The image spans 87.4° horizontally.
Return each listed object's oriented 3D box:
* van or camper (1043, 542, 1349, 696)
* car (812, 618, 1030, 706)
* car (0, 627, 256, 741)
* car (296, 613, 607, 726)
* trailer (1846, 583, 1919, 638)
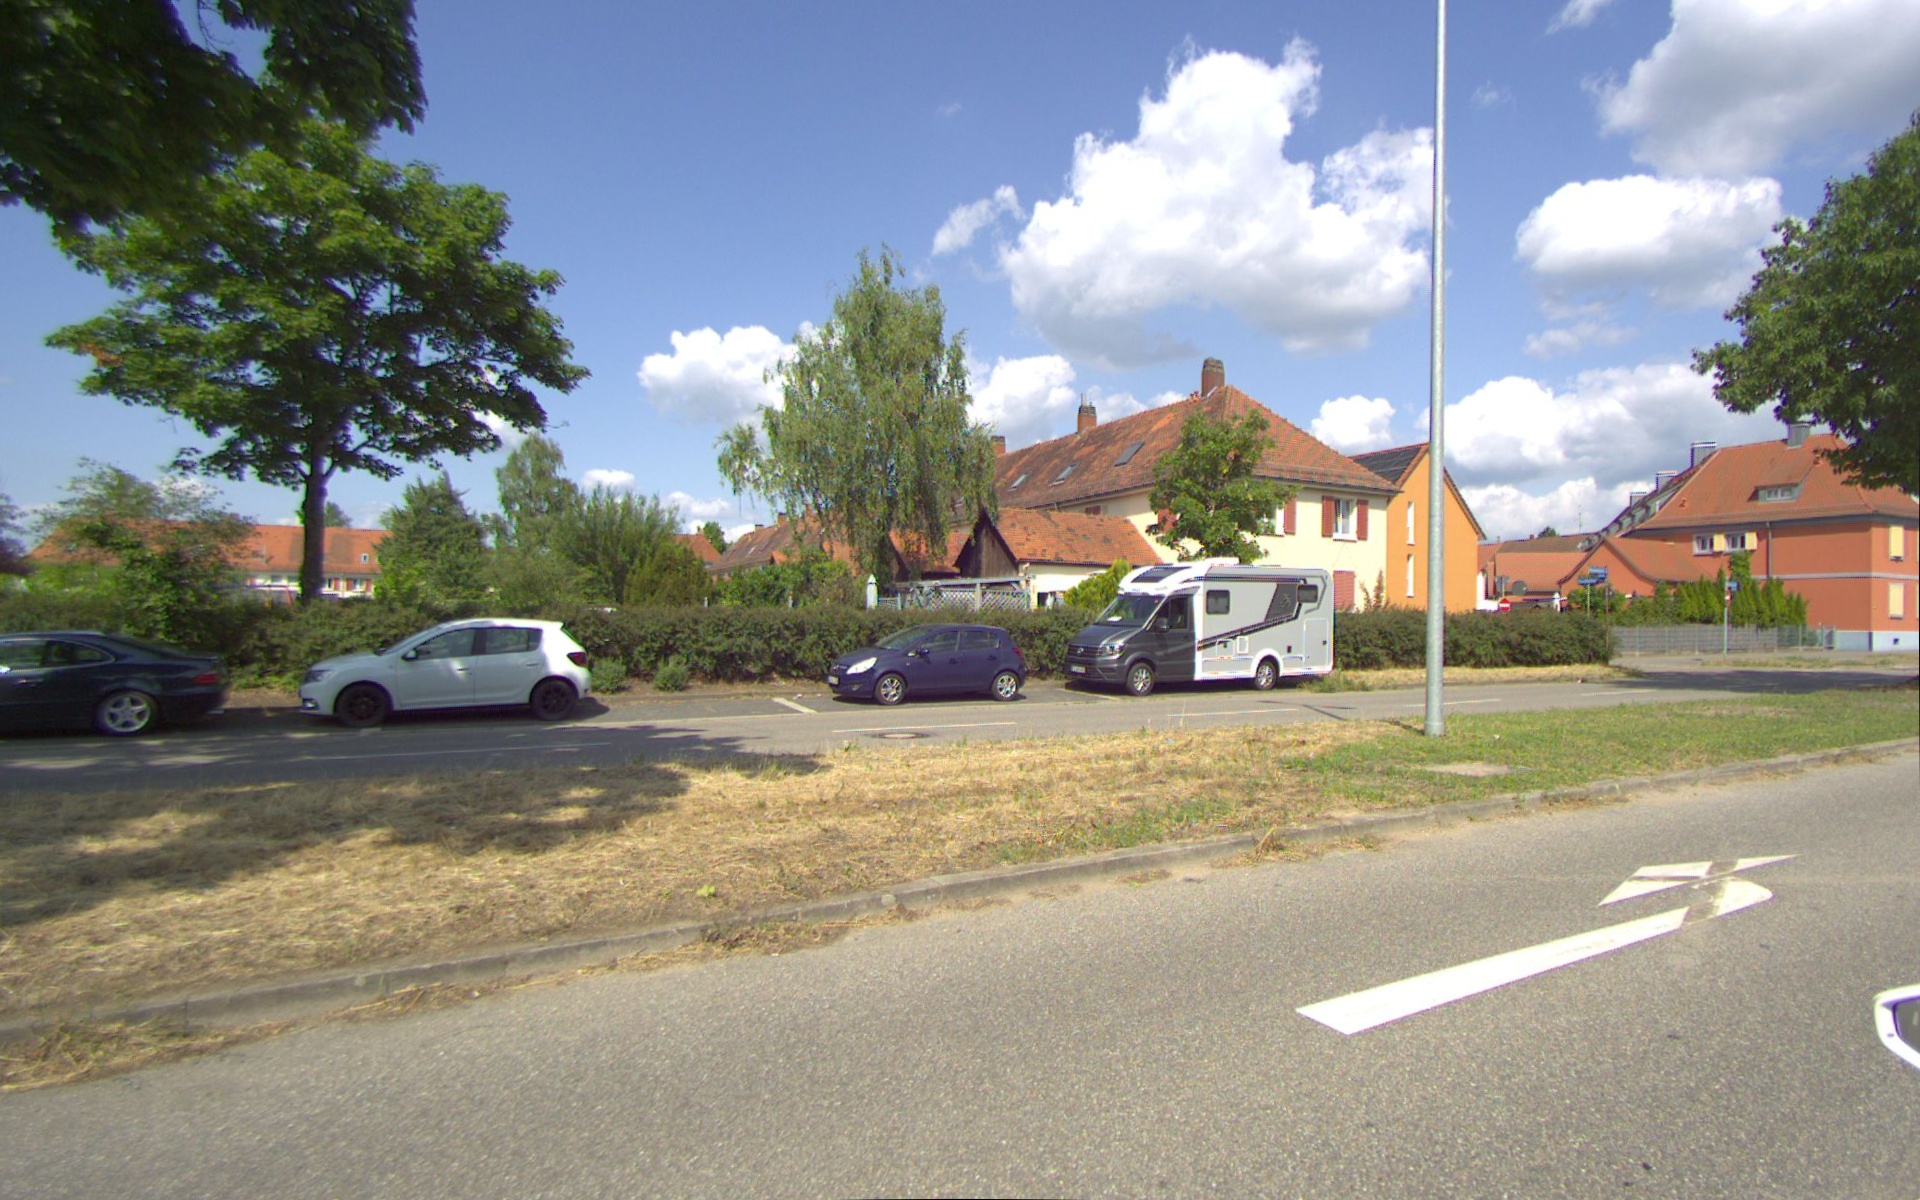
[{"bbox_3d":[5.581,0.395,23.280,7.230,3.154,2.249,0,1,-29],"label":"van or camper"},{"bbox_3d":[-0.740,1.178,19.671,3.944,1.505,1.629,2,1,-29],"label":"car"},{"bbox_3d":[-12.084,1.062,13.147,4.528,1.324,1.629,1,1,-29],"label":"car"},{"bbox_3d":[-7.770,1.022,15.608,4.074,1.505,1.681,2,1,-29],"label":"car"},{"bbox_3d":[73.143,0.854,74.411,3.569,4.065,11.292,2,0,-12],"label":"trailer"}]
